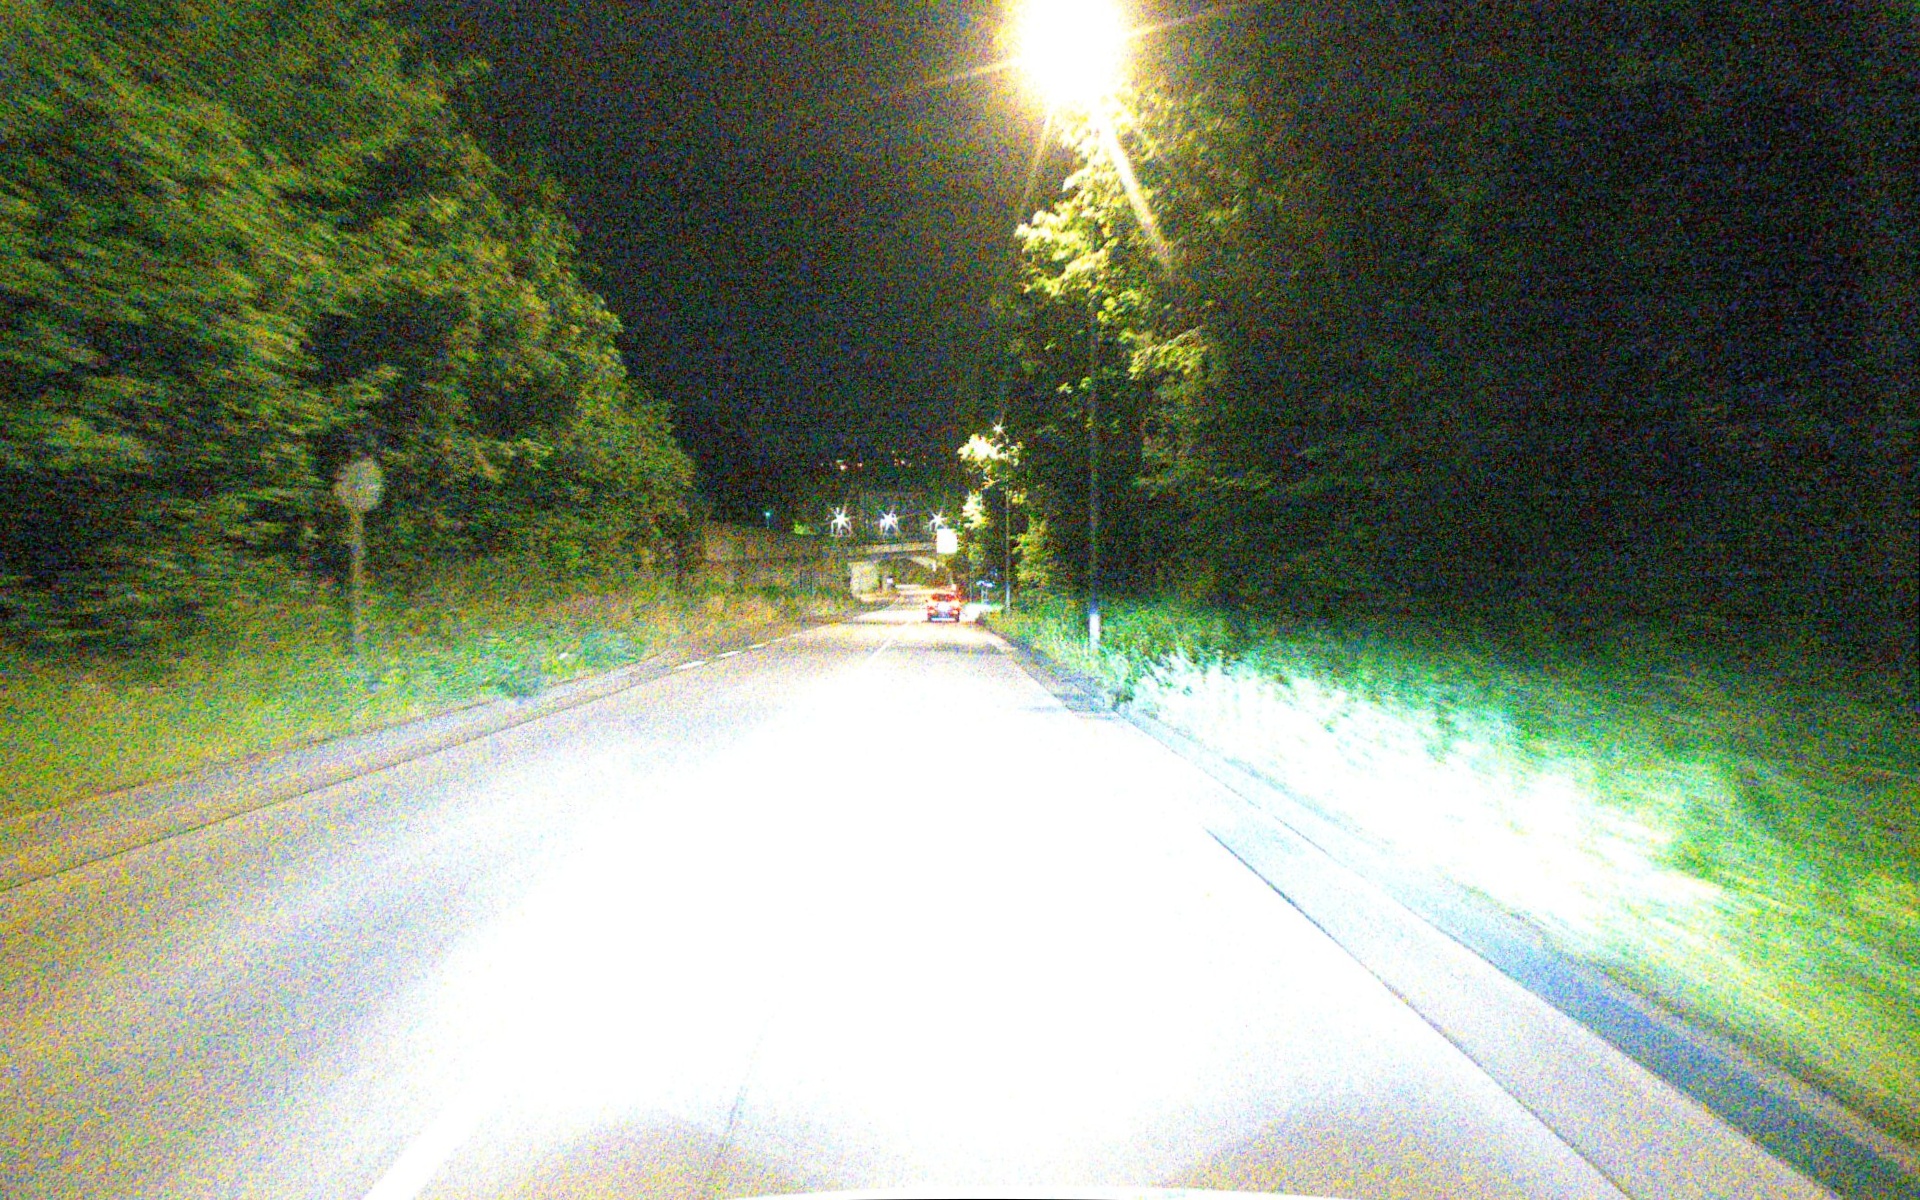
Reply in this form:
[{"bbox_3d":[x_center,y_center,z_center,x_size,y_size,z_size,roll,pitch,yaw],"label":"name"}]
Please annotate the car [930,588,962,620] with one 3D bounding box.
[{"bbox_3d":[-0.754,0.212,91.644,1.727,1.670,3.723,0,1,0],"label":"car"}]
